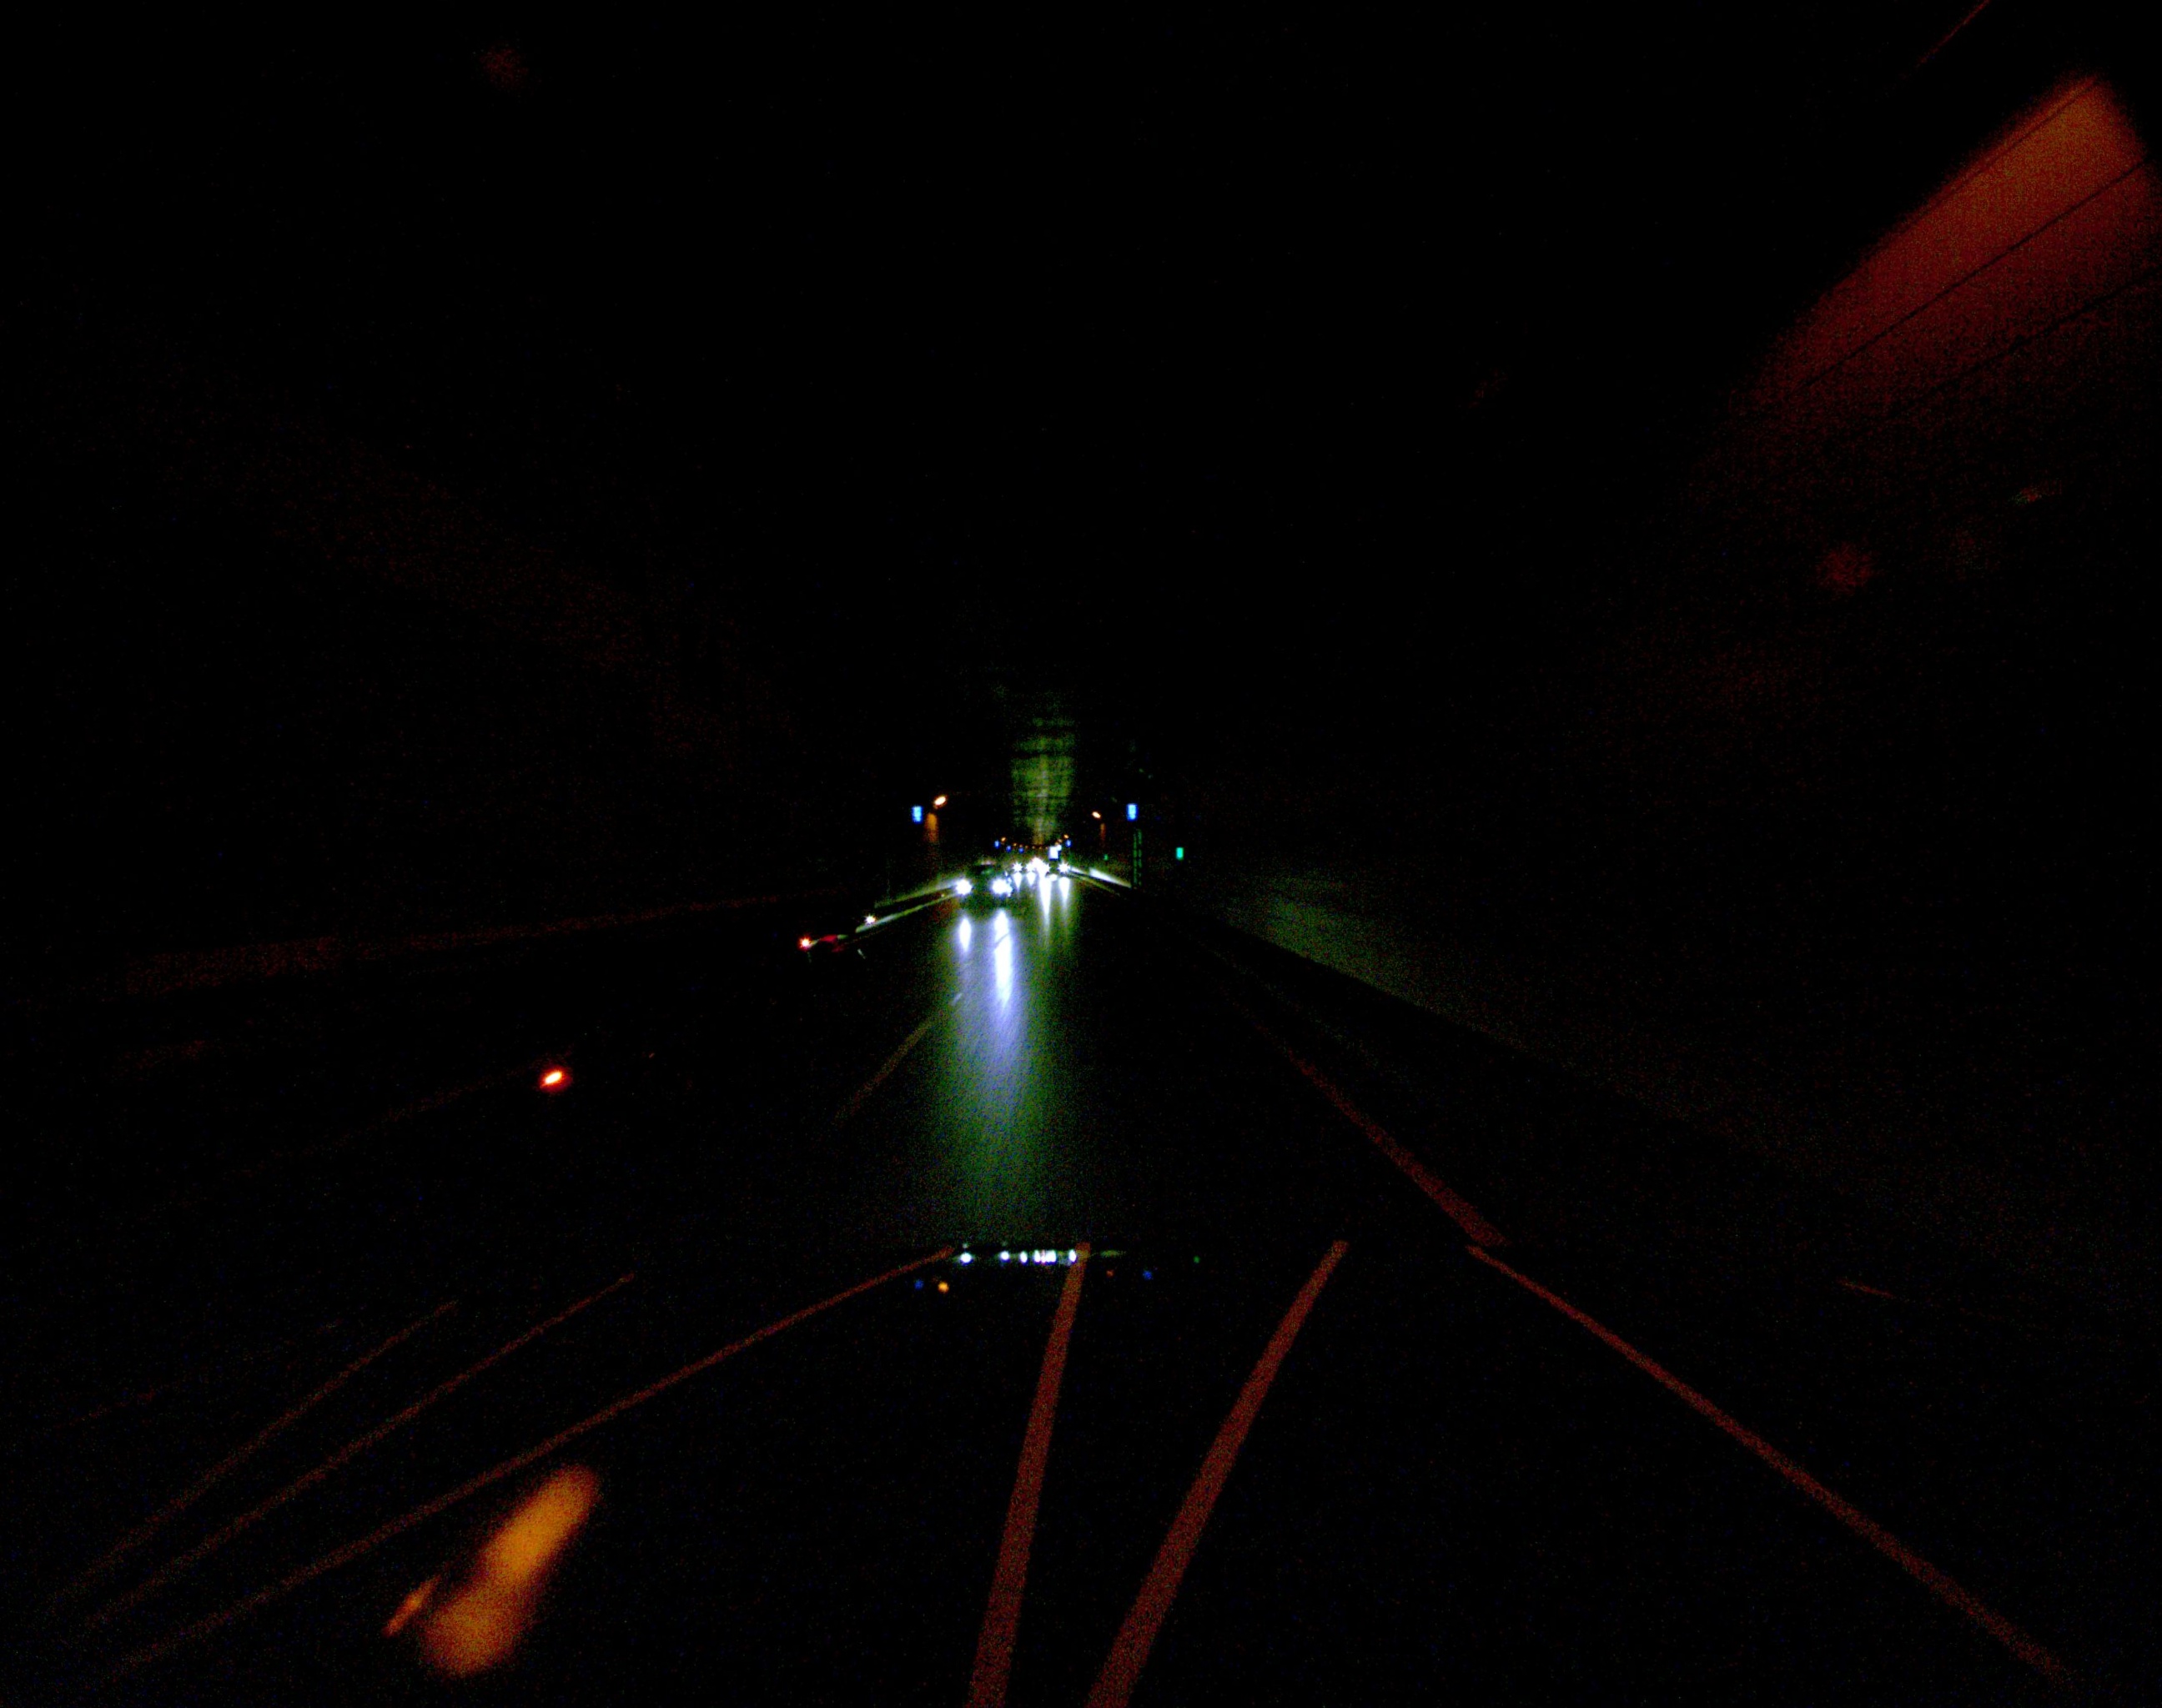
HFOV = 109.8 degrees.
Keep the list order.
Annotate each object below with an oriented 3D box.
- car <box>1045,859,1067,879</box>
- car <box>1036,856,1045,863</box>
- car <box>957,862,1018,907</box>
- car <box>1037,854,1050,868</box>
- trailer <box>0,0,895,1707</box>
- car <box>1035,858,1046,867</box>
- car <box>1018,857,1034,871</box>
[{"bbox_3d":[-2.109,1.211,64.064,1.820,1.589,3.999,1,0,-2],"label":"car"},{"bbox_3d":[-10.081,1.308,190.399,1.999,1.674,3.999,-1,1,-1],"label":"car"},{"bbox_3d":[-3.356,1.078,27.864,1.735,1.395,3.798,-2,1,0],"label":"car"},{"bbox_3d":[-5.152,0.973,103.903,1.715,1.729,3.997,-1,2,-3],"label":"car"},{"bbox_3d":[-3.490,-0.225,3.651,2.882,3.836,8.947,-1,0,0],"label":"trailer"},{"bbox_3d":[-7.450,1.591,140.503,1.999,1.576,4.650,-1,1,-2],"label":"car"},{"bbox_3d":[-6.558,1.149,91.040,1.736,1.565,3.999,-2,0,-4],"label":"car"}]
